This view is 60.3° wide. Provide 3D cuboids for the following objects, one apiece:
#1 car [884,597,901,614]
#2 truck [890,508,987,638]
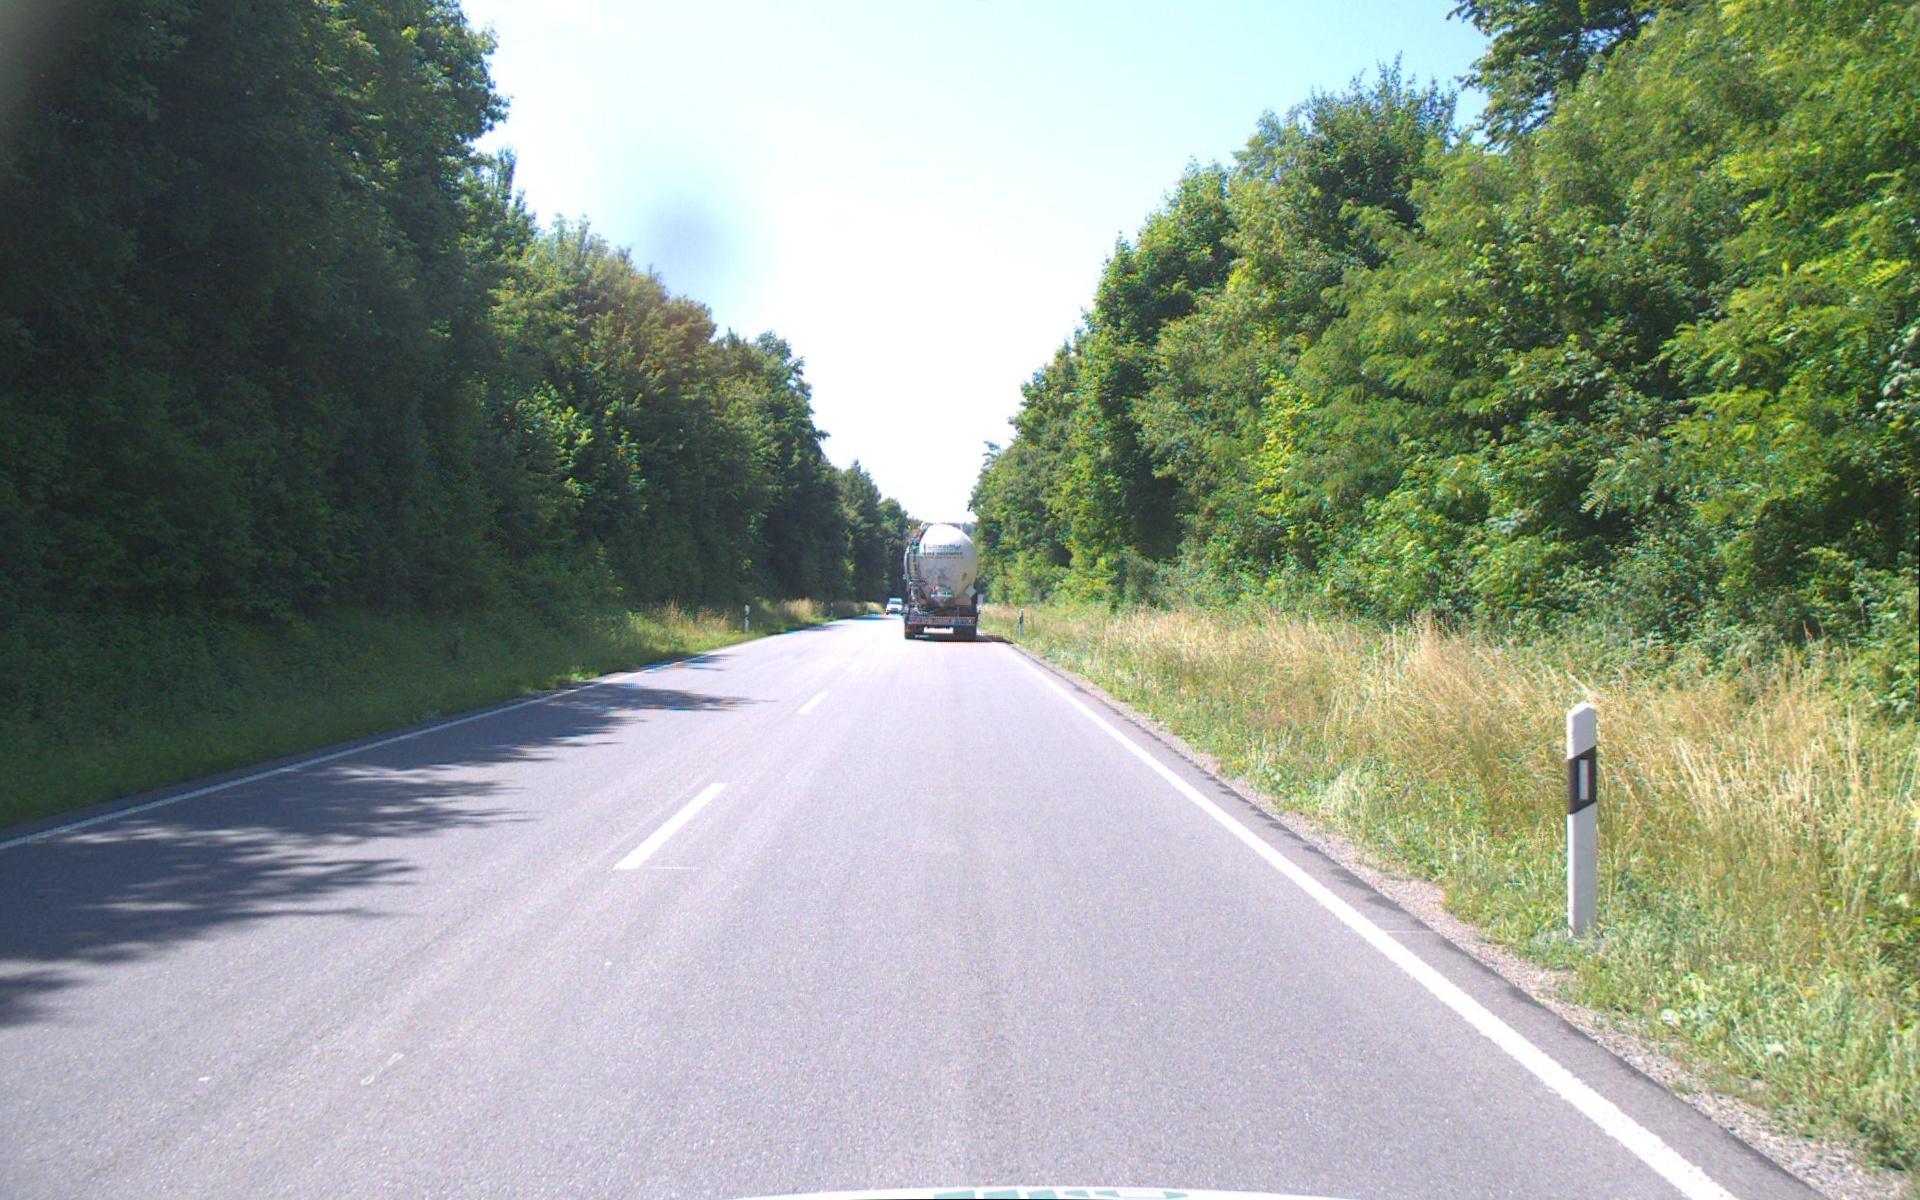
[{"bbox_3d":[-6.660,0.525,163.216,1.482,1.620,3.792,1,0,-1],"label":"car"},{"bbox_3d":[-0.996,-0.821,61.829,2.988,4.068,15.629,3,-1,-2],"label":"truck"}]
